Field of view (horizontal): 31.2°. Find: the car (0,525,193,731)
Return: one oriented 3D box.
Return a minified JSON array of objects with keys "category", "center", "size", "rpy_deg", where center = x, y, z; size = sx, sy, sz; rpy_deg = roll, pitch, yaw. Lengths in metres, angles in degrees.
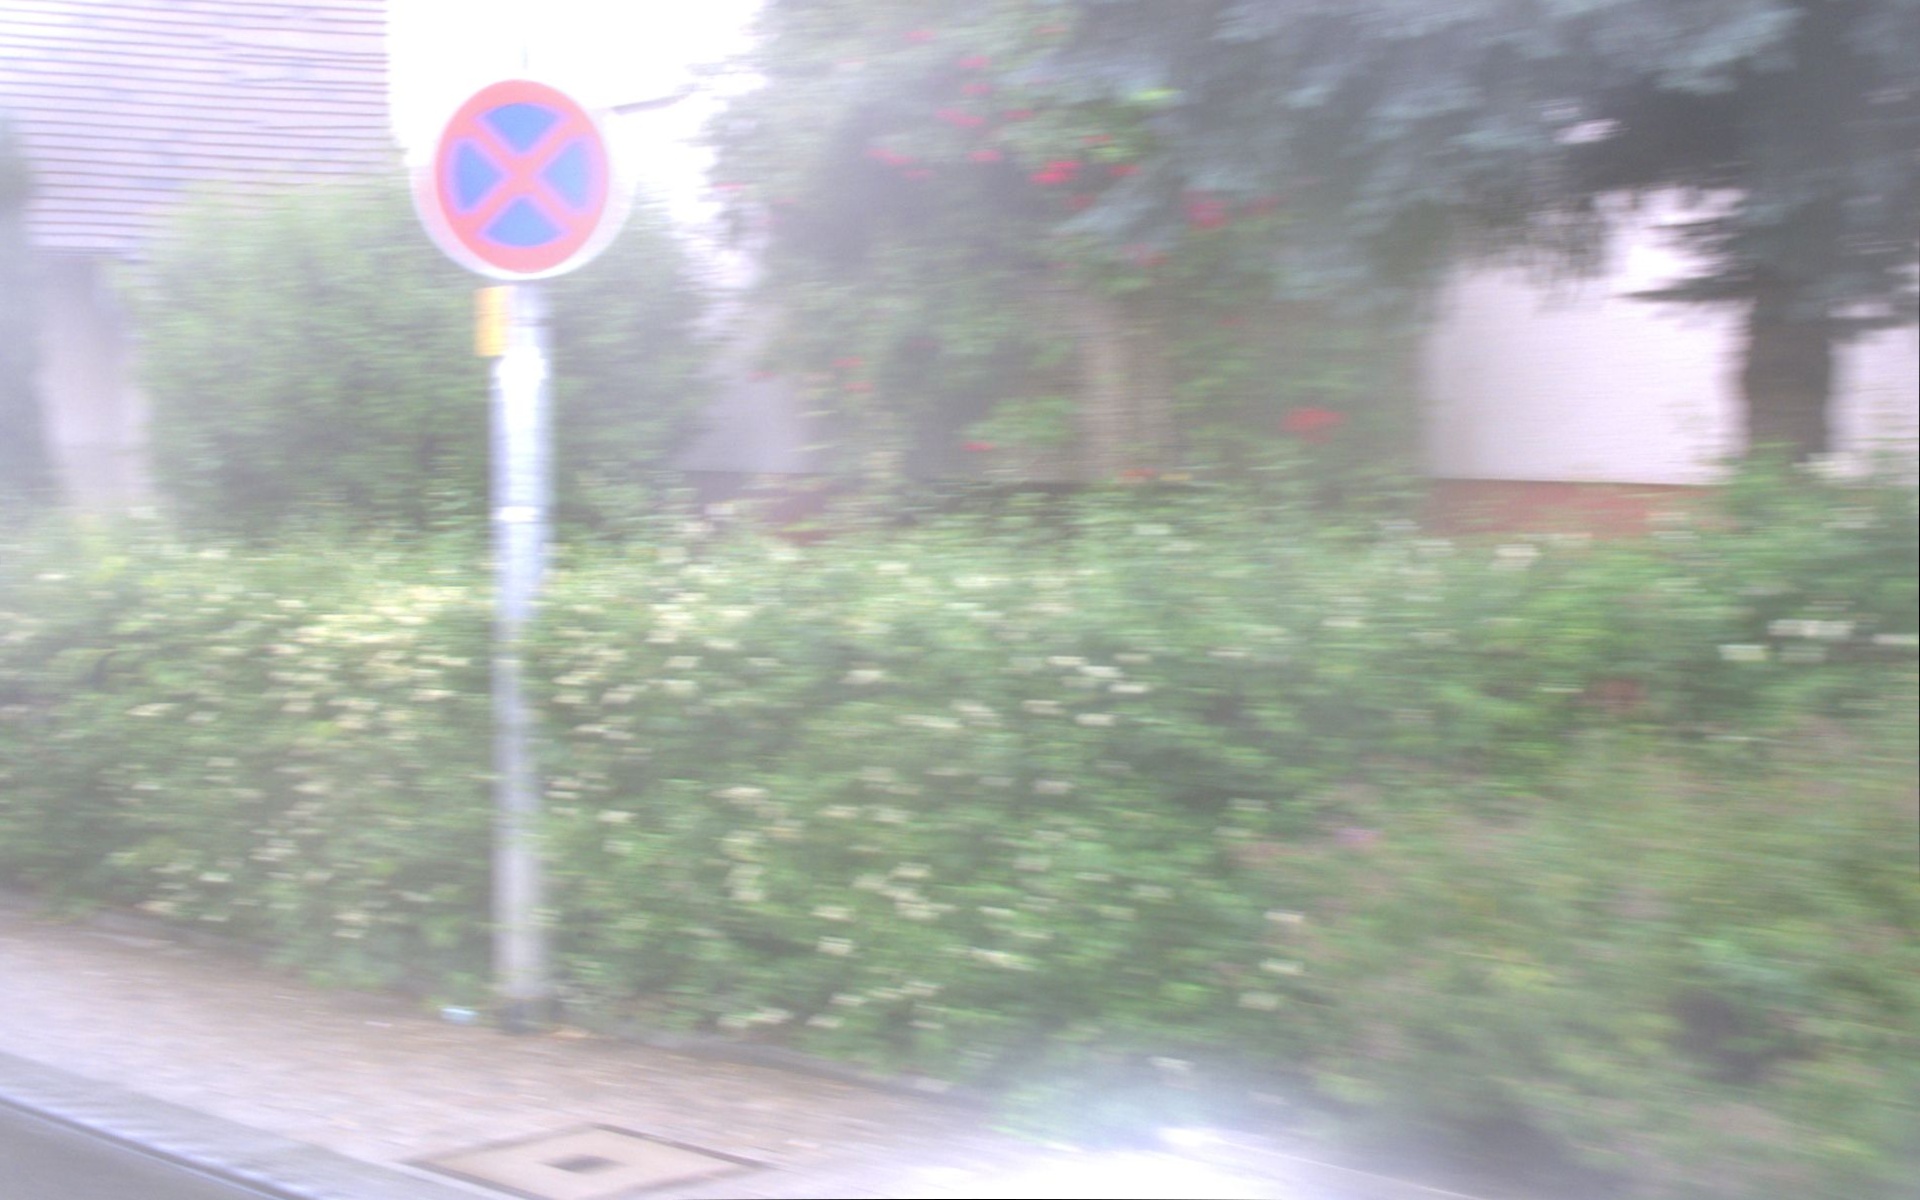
[{"category":"car","center":[-8.647,0.226,28.108],"size":[4.218,1.643,1.903],"rpy_deg":[-1,2,-35]}]
